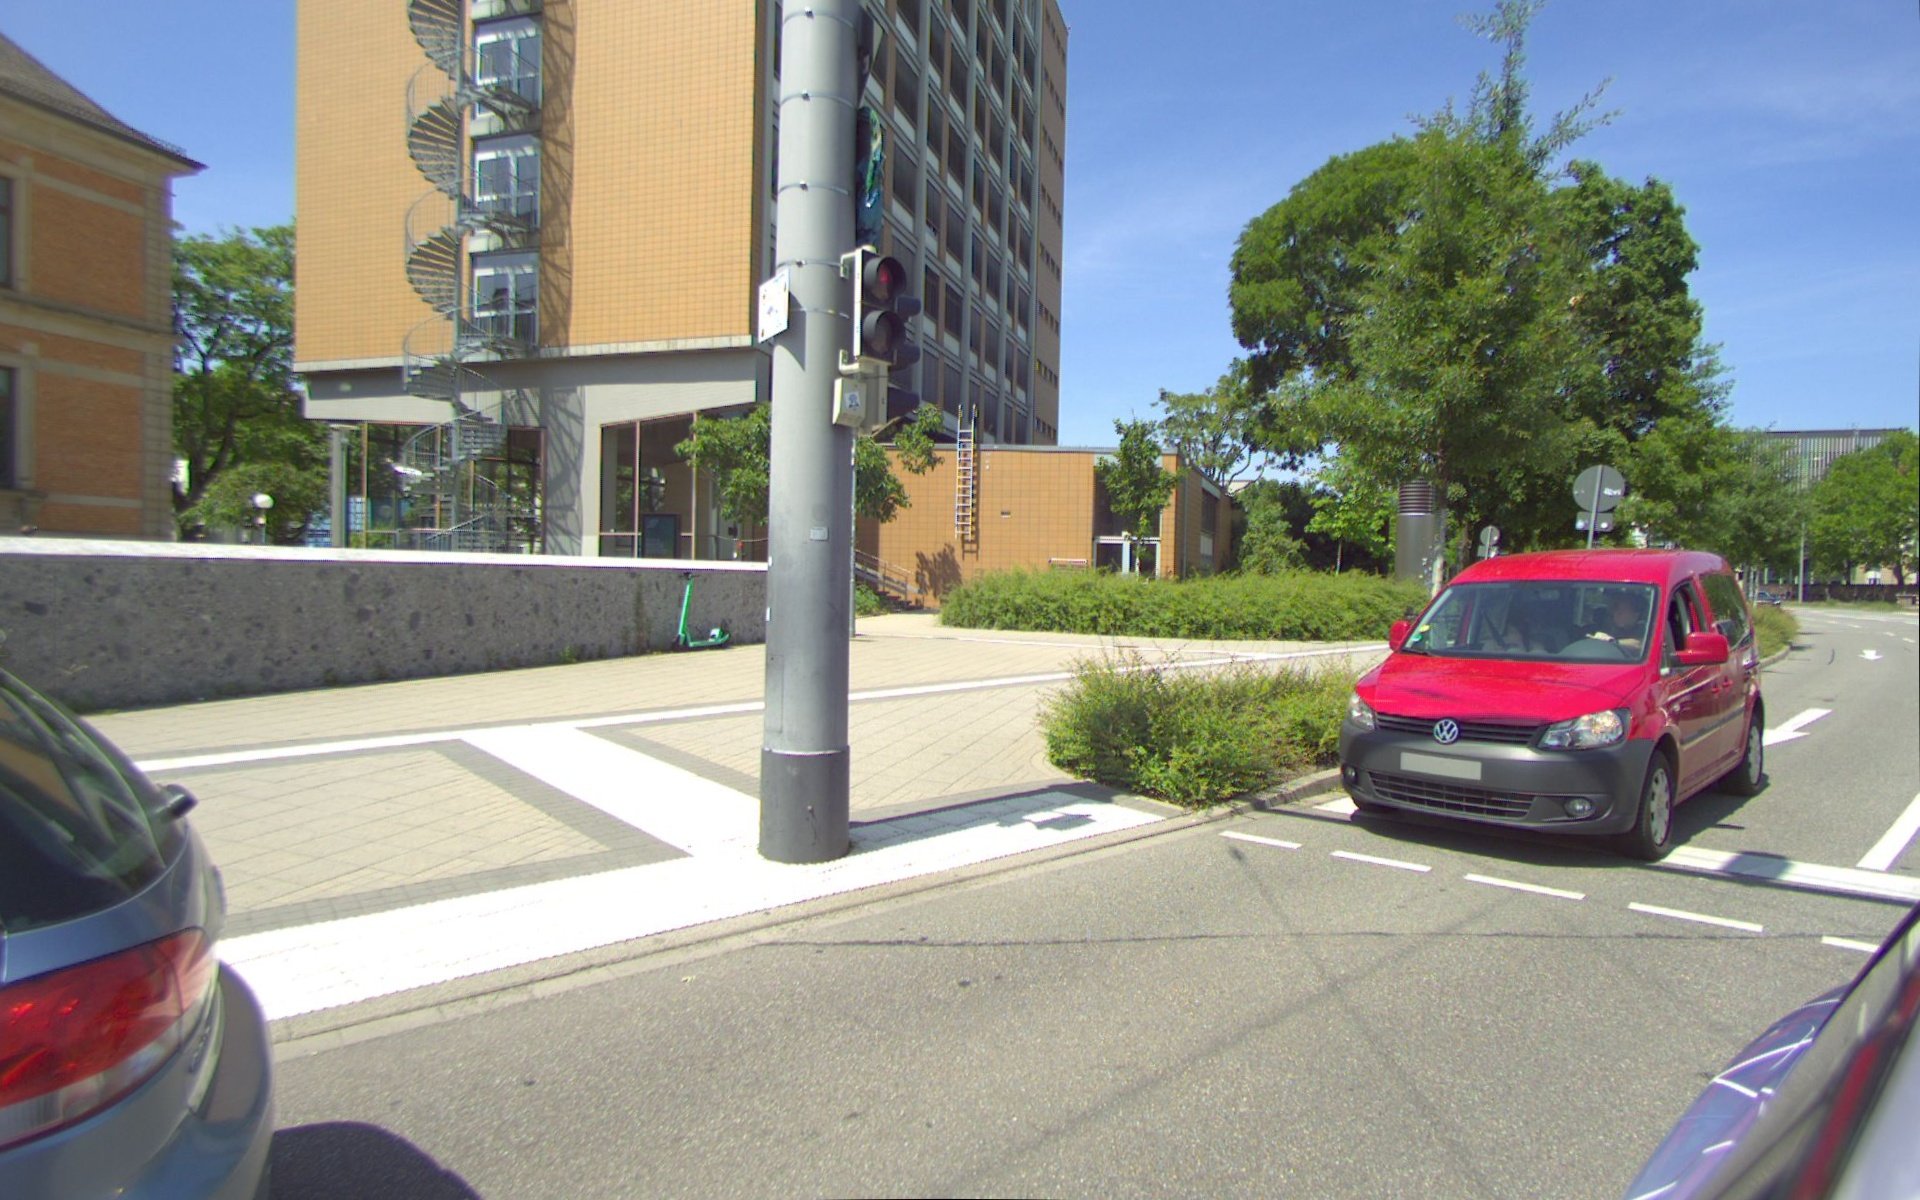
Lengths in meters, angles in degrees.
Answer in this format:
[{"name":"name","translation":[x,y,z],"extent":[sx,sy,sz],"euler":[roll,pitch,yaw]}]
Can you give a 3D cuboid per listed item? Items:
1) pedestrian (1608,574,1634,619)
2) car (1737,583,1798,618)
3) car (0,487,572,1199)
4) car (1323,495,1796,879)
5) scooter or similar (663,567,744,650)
[{"name":"pedestrian","translation":[27.415,-0.159,41.988],"extent":[0.603,1.820,0.728],"euler":[0,1,-42]},{"name":"car","translation":[49.537,-0.027,62.171],"extent":[1.979,2.039,3.967],"euler":[1,1,25]},{"name":"car","translation":[-2.630,0.613,0.949],"extent":[3.932,1.477,1.654],"euler":[0,0,-40]},{"name":"car","translation":[4.413,0.405,7.096],"extent":[4.469,1.882,1.653],"euler":[0,1,-43]},{"name":"scooter or similar","translation":[-3.815,0.104,15.118],"extent":[0.454,1.185,1.239],"euler":[1,1,27]}]
